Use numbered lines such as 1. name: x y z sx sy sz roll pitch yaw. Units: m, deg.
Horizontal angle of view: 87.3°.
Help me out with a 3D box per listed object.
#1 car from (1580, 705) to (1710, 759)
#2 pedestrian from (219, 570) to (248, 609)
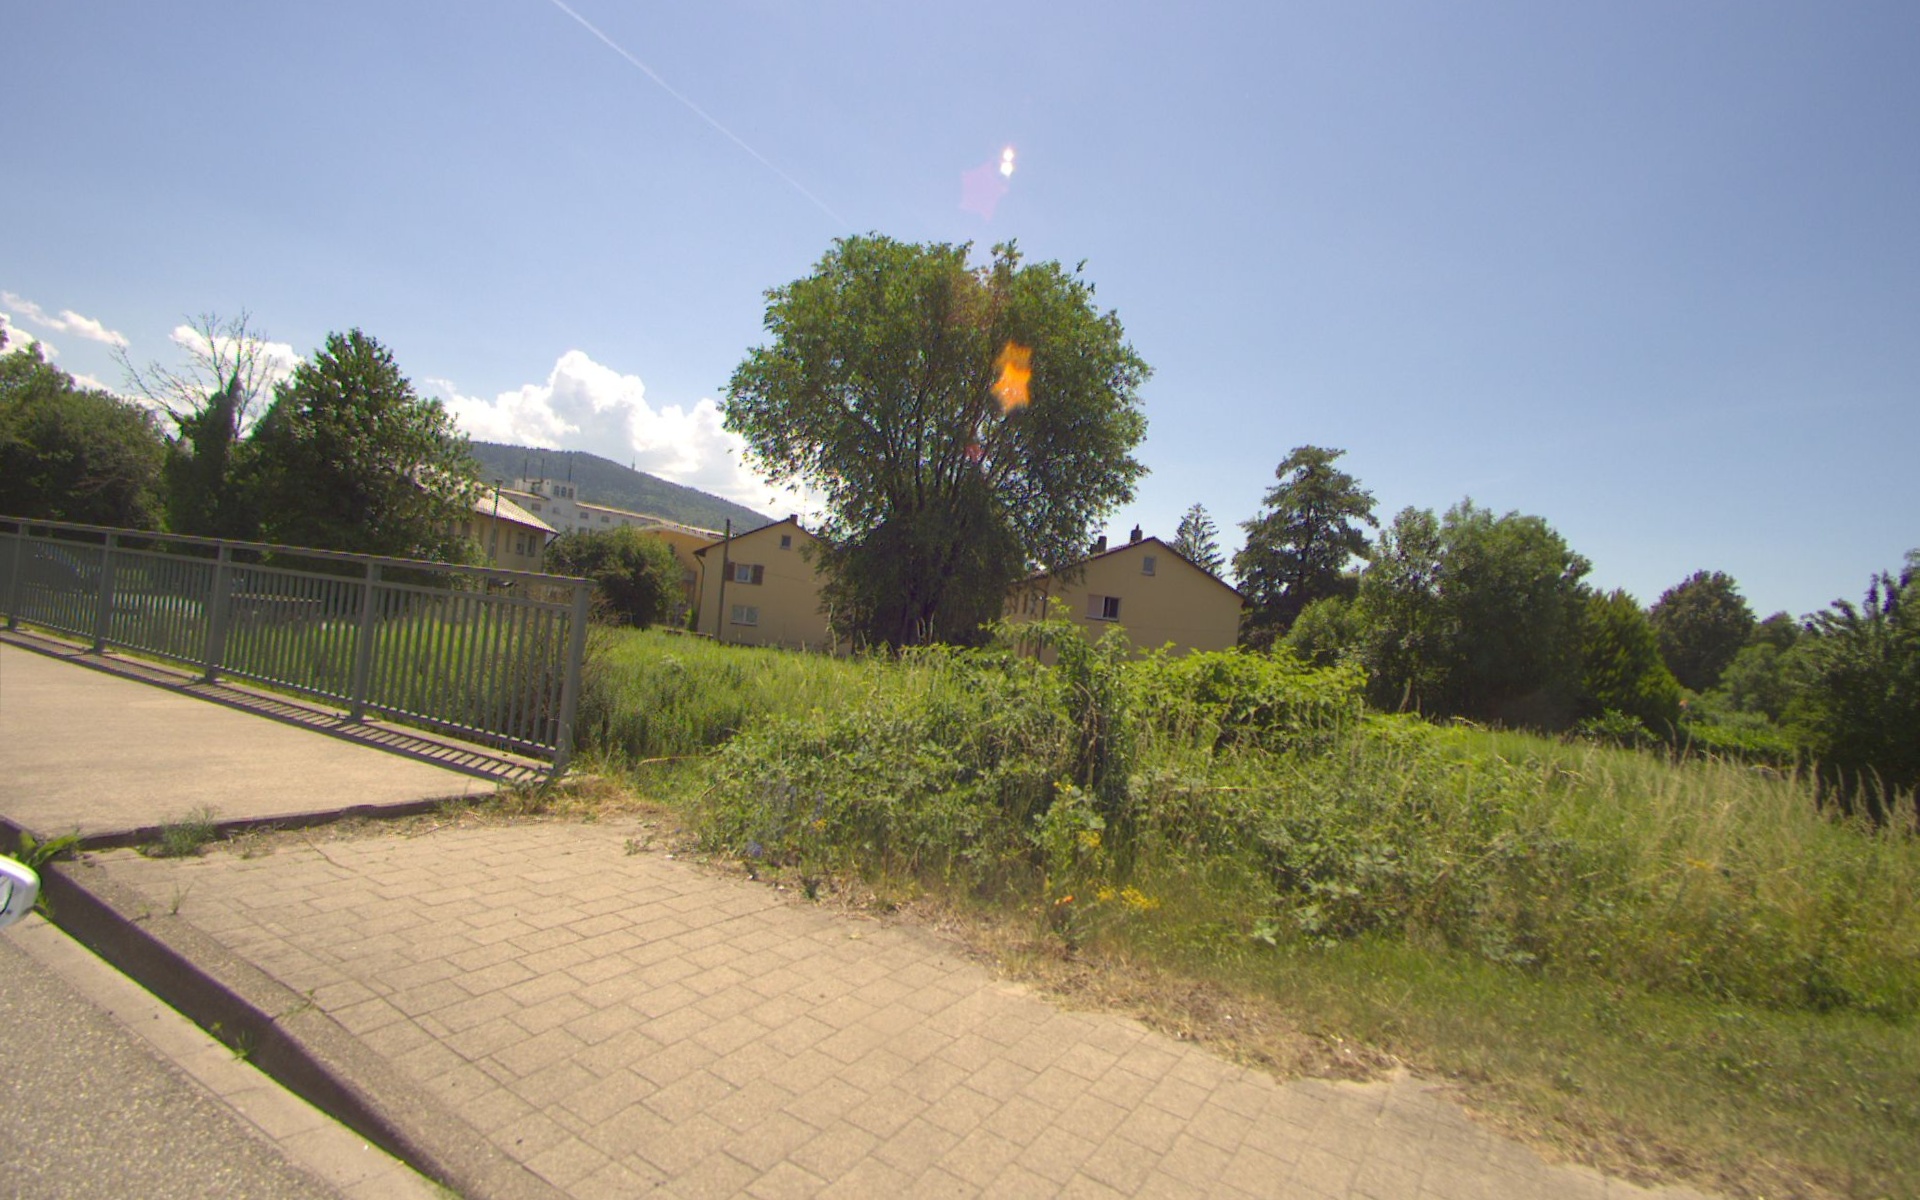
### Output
1. car: 30.123 5.802 44.306 4.434 1.643 1.998 7 -1 -7
2. pedestrian: -28.452 -0.412 39.410 0.838 1.411 0.679 9 3 43
